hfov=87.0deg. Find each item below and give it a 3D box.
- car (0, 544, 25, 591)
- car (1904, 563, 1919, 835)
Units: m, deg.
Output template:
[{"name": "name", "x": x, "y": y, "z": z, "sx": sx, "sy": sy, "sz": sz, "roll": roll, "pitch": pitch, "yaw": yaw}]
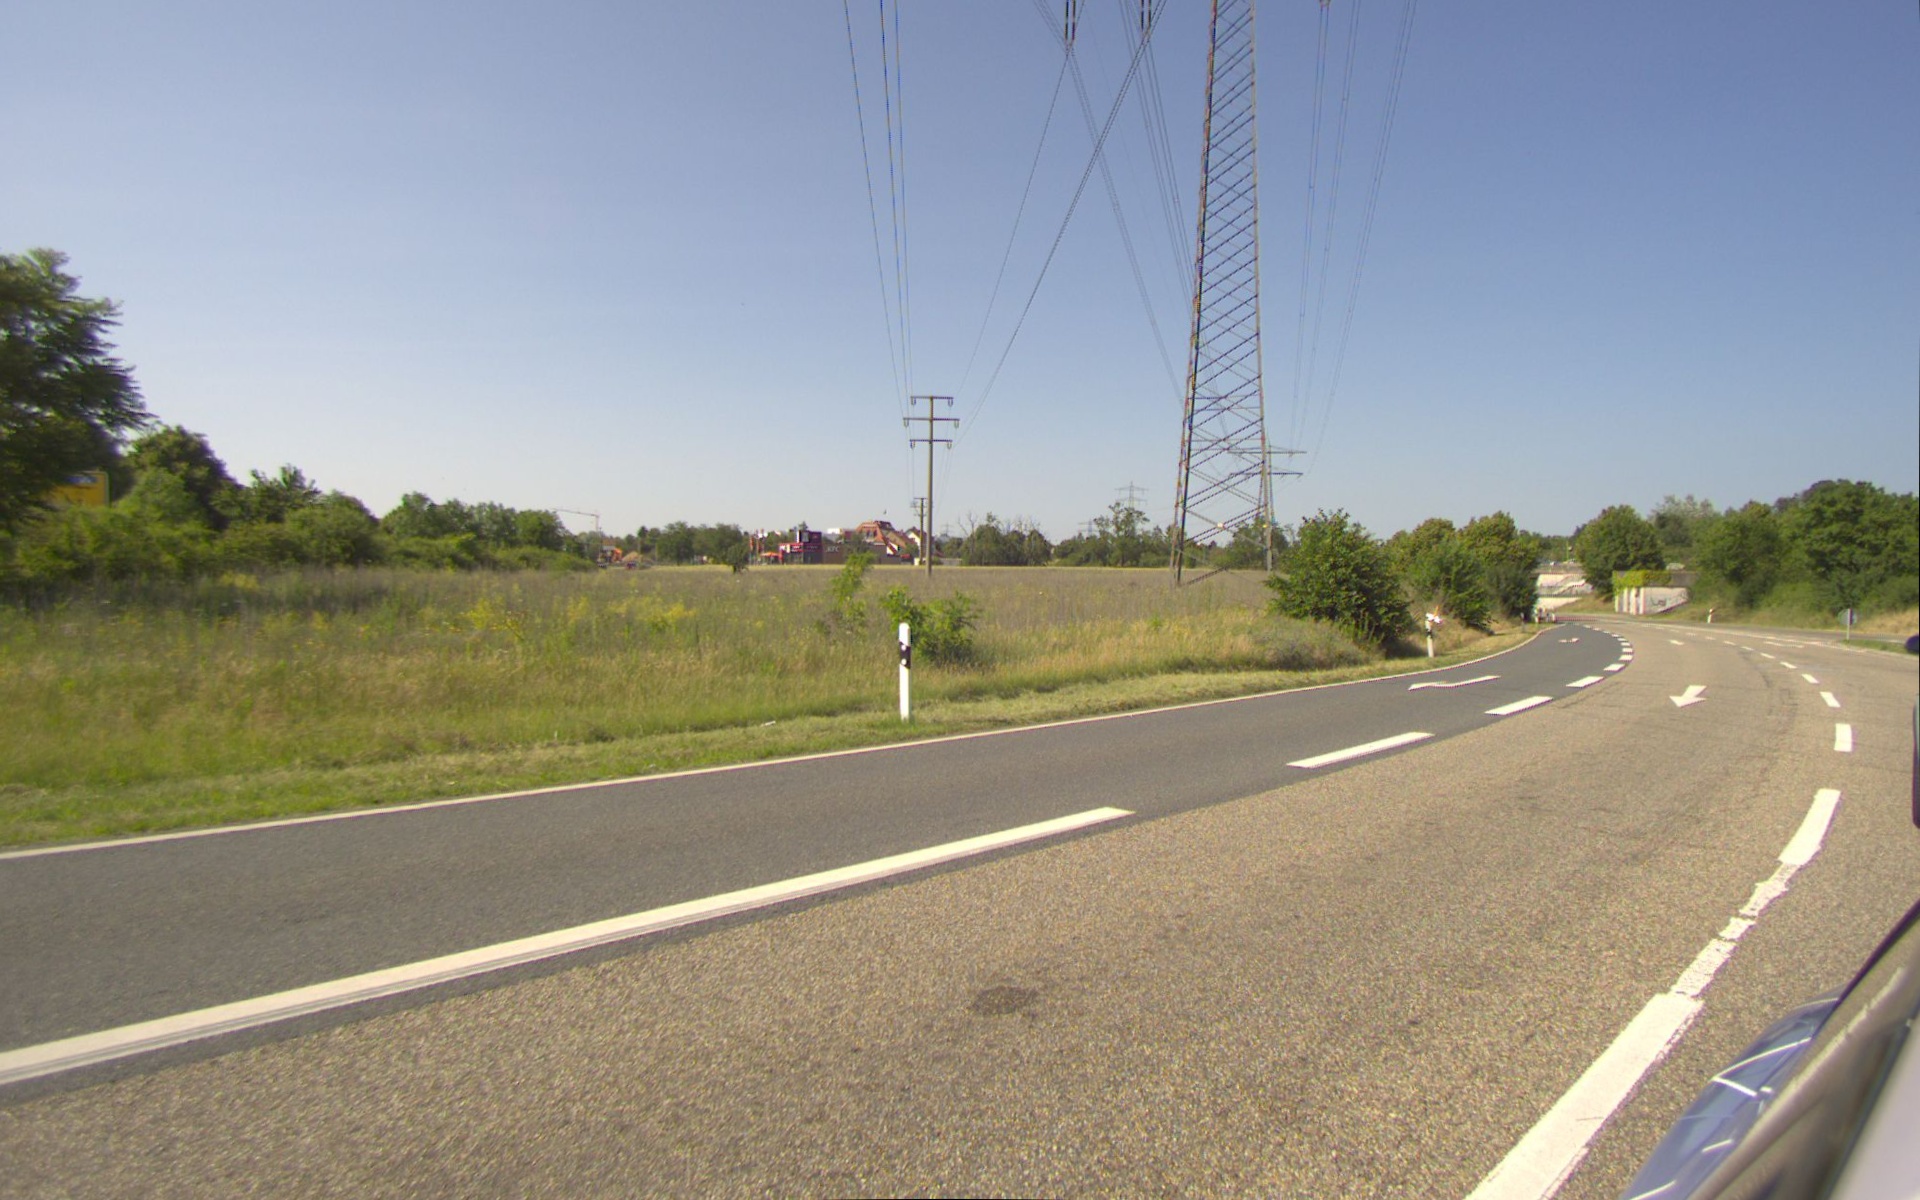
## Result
[{"name": "car", "x": -51.443, "y": -1.728, "z": 53.301, "sx": 1.431, "sy": 2.467, "sz": 3.914, "roll": 0, "pitch": 0, "yaw": -12}, {"name": "car", "x": 7.686, "y": 0.610, "z": 6.612, "sx": 3.583, "sy": 1.640, "sz": 1.858, "roll": 0, "pitch": 0, "yaw": -41}]
